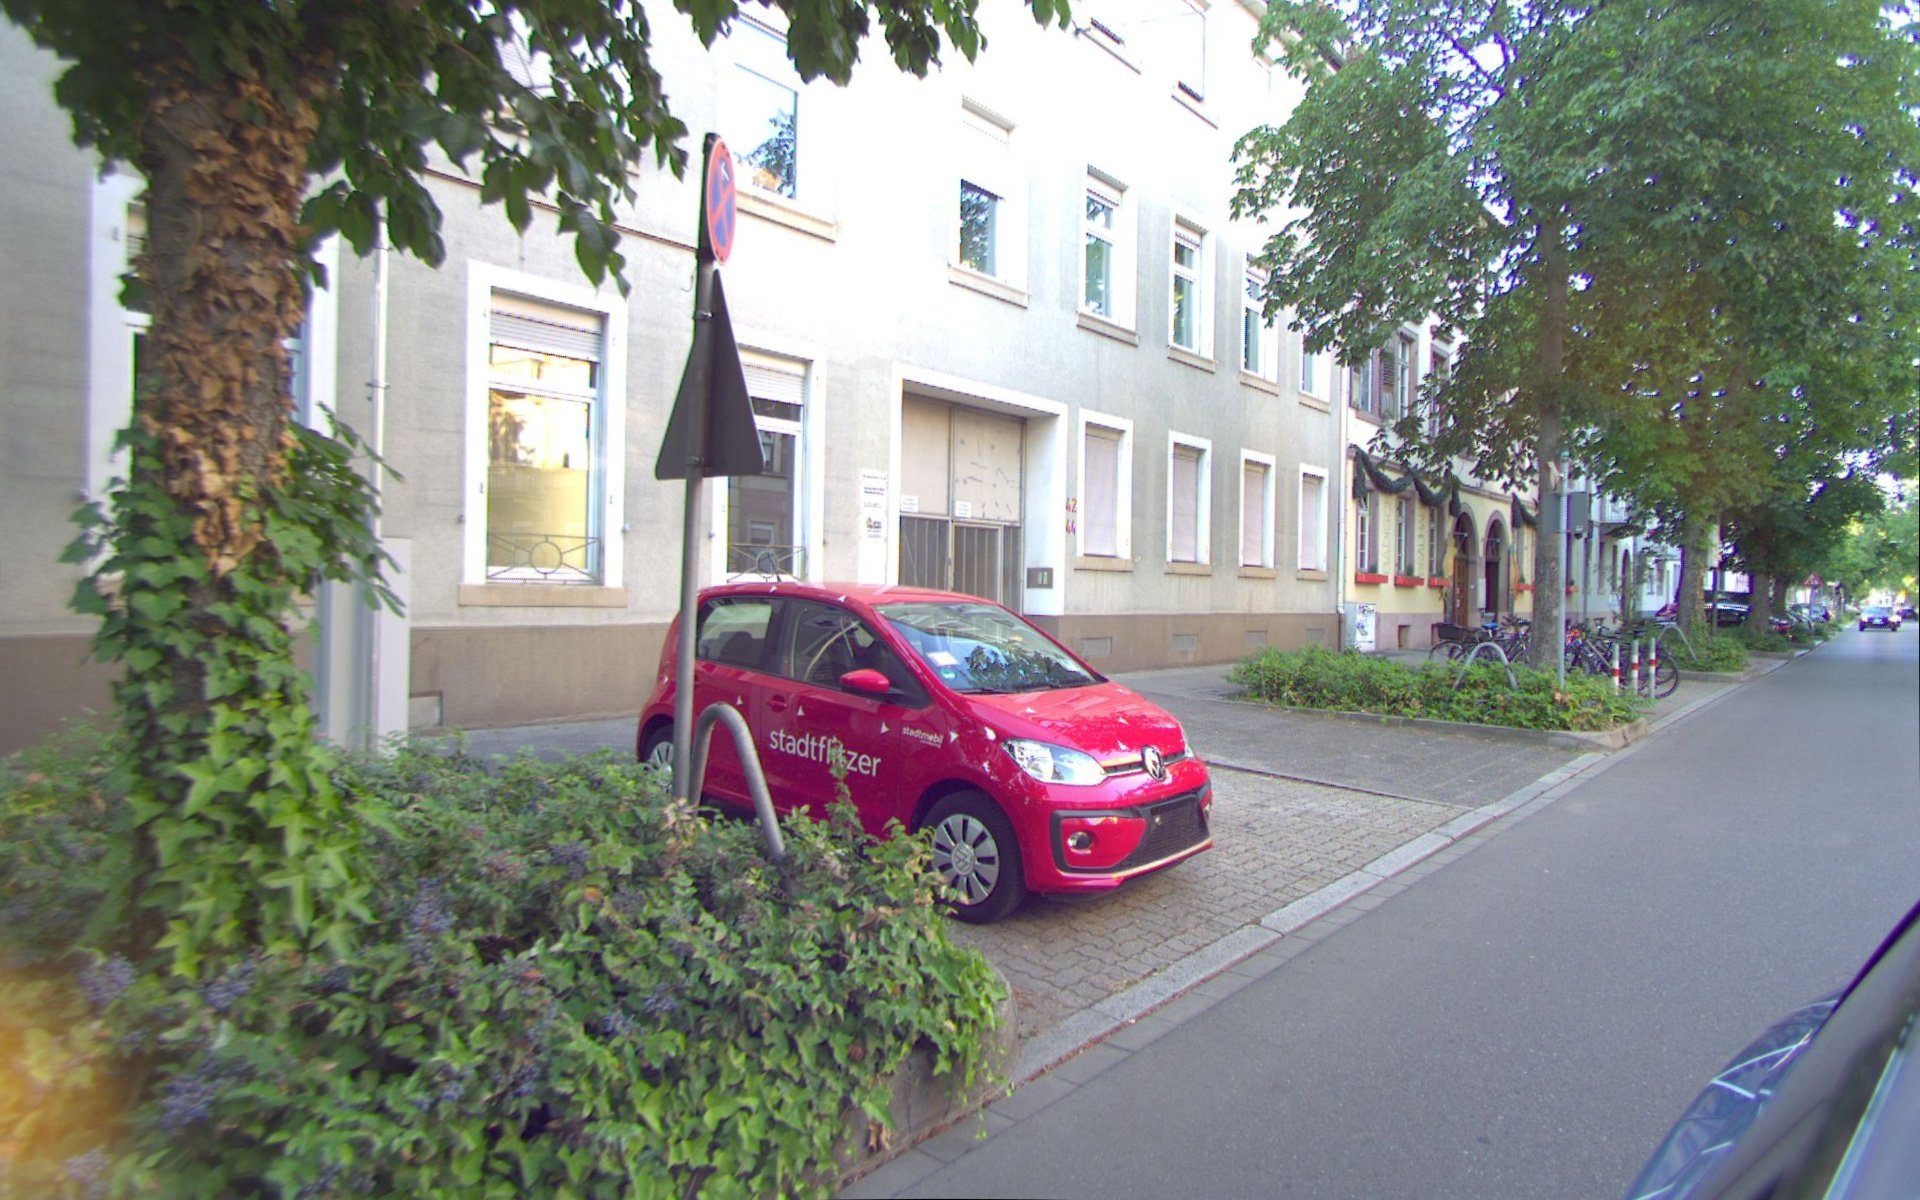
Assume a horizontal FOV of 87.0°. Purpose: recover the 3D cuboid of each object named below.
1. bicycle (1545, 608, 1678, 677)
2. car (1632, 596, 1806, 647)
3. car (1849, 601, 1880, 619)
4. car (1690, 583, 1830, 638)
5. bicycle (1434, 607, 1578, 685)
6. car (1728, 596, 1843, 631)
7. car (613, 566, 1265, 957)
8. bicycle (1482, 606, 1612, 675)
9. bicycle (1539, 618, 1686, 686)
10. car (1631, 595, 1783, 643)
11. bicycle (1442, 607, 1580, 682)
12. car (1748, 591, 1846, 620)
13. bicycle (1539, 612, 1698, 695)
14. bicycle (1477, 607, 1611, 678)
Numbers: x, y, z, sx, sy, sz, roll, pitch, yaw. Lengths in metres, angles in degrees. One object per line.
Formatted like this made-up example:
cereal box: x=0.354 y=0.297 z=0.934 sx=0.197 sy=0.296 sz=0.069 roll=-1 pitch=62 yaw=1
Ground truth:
bicycle: x=12.149 y=0.764 z=18.934 sx=2.035 sy=1.160 sz=0.415 roll=2 pitch=1 yaw=43
car: x=25.113 y=0.667 z=33.602 sx=1.748 sy=1.524 sz=4.434 roll=1 pitch=1 yaw=-45
car: x=75.491 y=0.798 z=84.461 sx=1.822 sy=1.389 sz=3.938 roll=2 pitch=1 yaw=43
car: x=33.557 y=0.412 z=42.514 sx=1.748 sy=2.150 sz=4.434 roll=1 pitch=1 yaw=-45
bicycle: x=8.923 y=0.724 z=16.621 sx=0.439 sy=1.160 sz=2.038 roll=1 pitch=1 yaw=-43
car: x=42.567 y=0.657 z=52.265 sx=1.748 sy=1.633 sz=4.434 roll=1 pitch=1 yaw=-45
car: x=-0.333 y=0.591 z=5.782 sx=3.654 sy=1.494 sz=1.542 roll=3 pitch=2 yaw=42
bicycle: x=10.845 y=0.728 z=18.751 sx=2.035 sy=1.160 sz=0.415 roll=2 pitch=1 yaw=43
bicycle: x=10.963 y=0.851 z=17.065 sx=2.035 sy=1.016 sz=0.415 roll=2 pitch=1 yaw=43
car: x=28.210 y=0.660 z=38.322 sx=1.748 sy=1.633 sz=4.434 roll=1 pitch=1 yaw=-45
bicycle: x=9.429 y=0.736 z=17.380 sx=2.035 sy=1.160 sz=0.415 roll=2 pitch=1 yaw=43
car: x=50.900 y=0.338 z=61.596 sx=1.748 sy=1.633 sz=4.434 roll=1 pitch=1 yaw=-45
bicycle: x=10.292 y=0.809 z=15.883 sx=2.036 sy=1.160 sz=0.439 roll=2 pitch=1 yaw=45
bicycle: x=10.471 y=0.739 z=18.210 sx=2.035 sy=1.160 sz=0.415 roll=2 pitch=1 yaw=43
